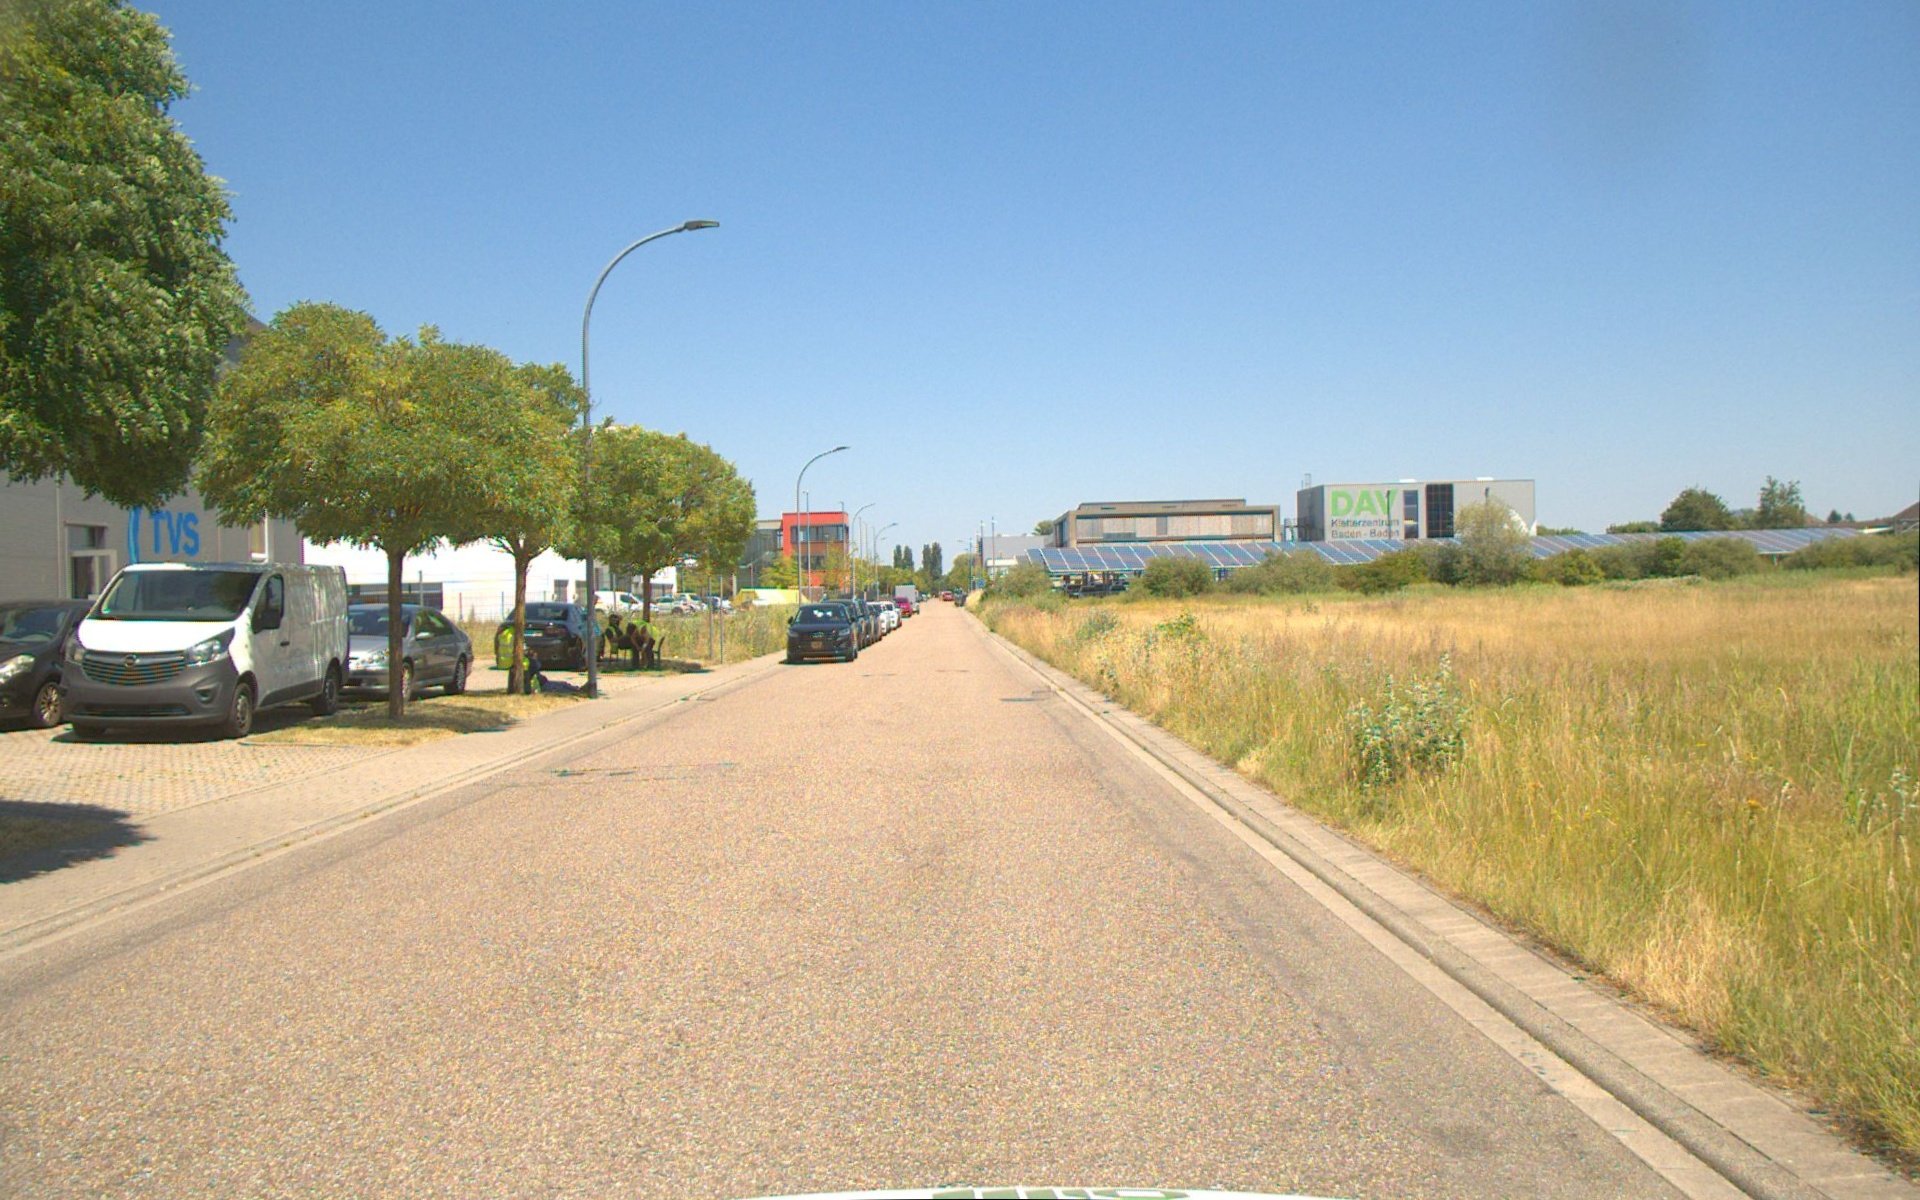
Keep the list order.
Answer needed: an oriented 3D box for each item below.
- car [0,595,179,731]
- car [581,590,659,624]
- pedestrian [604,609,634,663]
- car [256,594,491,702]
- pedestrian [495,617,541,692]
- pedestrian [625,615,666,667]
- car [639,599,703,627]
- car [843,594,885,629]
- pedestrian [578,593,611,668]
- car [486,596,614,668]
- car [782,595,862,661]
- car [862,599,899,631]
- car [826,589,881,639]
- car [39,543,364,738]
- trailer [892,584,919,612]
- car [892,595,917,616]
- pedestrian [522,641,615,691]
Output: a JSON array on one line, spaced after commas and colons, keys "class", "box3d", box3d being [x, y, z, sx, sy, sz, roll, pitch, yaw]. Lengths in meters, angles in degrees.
[{"class": "car", "box3d": [-11.530, 0.697, 20.472, 1.888, 1.466, 4.085, 1, 0, -2]}, {"class": "car", "box3d": [-21.522, 0.414, 104.798, 4.436, 1.977, 2.031, -2, 0, 0]}, {"class": "pedestrian", "box3d": [-7.808, 0.815, 37.867, 0.495, 1.212, 0.753, 1, 0, 1]}, {"class": "car", "box3d": [-8.950, 0.715, 25.718, 1.887, 1.466, 4.841, -2, -1, 0]}, {"class": "pedestrian", "box3d": [-7.068, 0.874, 26.457, 0.468, 1.170, 0.555, 1, -2, 9]}, {"class": "pedestrian", "box3d": [-6.993, 0.909, 36.843, 0.735, 1.118, 0.647, 1, 0, 3]}, {"class": "car", "box3d": [-21.804, 0.955, 124.852, 4.436, 1.977, 2.031, -2, 0, 0]}, {"class": "car", "box3d": [-4.449, 0.499, 77.109, 1.750, 1.547, 3.982, -1, 0, -1]}, {"class": "pedestrian", "box3d": [-8.043, 0.664, 36.425, 0.495, 1.623, 0.753, 1, 0, 1]}, {"class": "car", "box3d": [-9.330, 0.681, 38.003, 1.888, 1.490, 4.690, 1, 0, -2]}, {"class": "car", "box3d": [-3.646, 0.701, 44.350, 1.888, 1.594, 4.188, -2, 0, -2]}, {"class": "car", "box3d": [-4.227, 0.791, 88.397, 1.750, 1.547, 3.982, -2, 0, -1]}, {"class": "car", "box3d": [-3.867, 0.473, 60.591, 1.733, 1.692, 4.551, -2, 0, -1]}, {"class": "car", "box3d": [-9.017, 0.414, 20.224, 1.800, 2.054, 5.123, 1, 0, -3]}, {"class": "trailer", "box3d": [-4.545, -0.170, 138.387, 2.156, 2.175, 4.285, -2, 0, -1]}, {"class": "car", "box3d": [-4.261, 0.434, 126.789, 1.750, 1.547, 3.982, -2, 0, -1]}, {"class": "pedestrian", "box3d": [-6.535, 1.098, 27.648, 1.330, 0.762, 0.753, 2, 0, 1]}]
